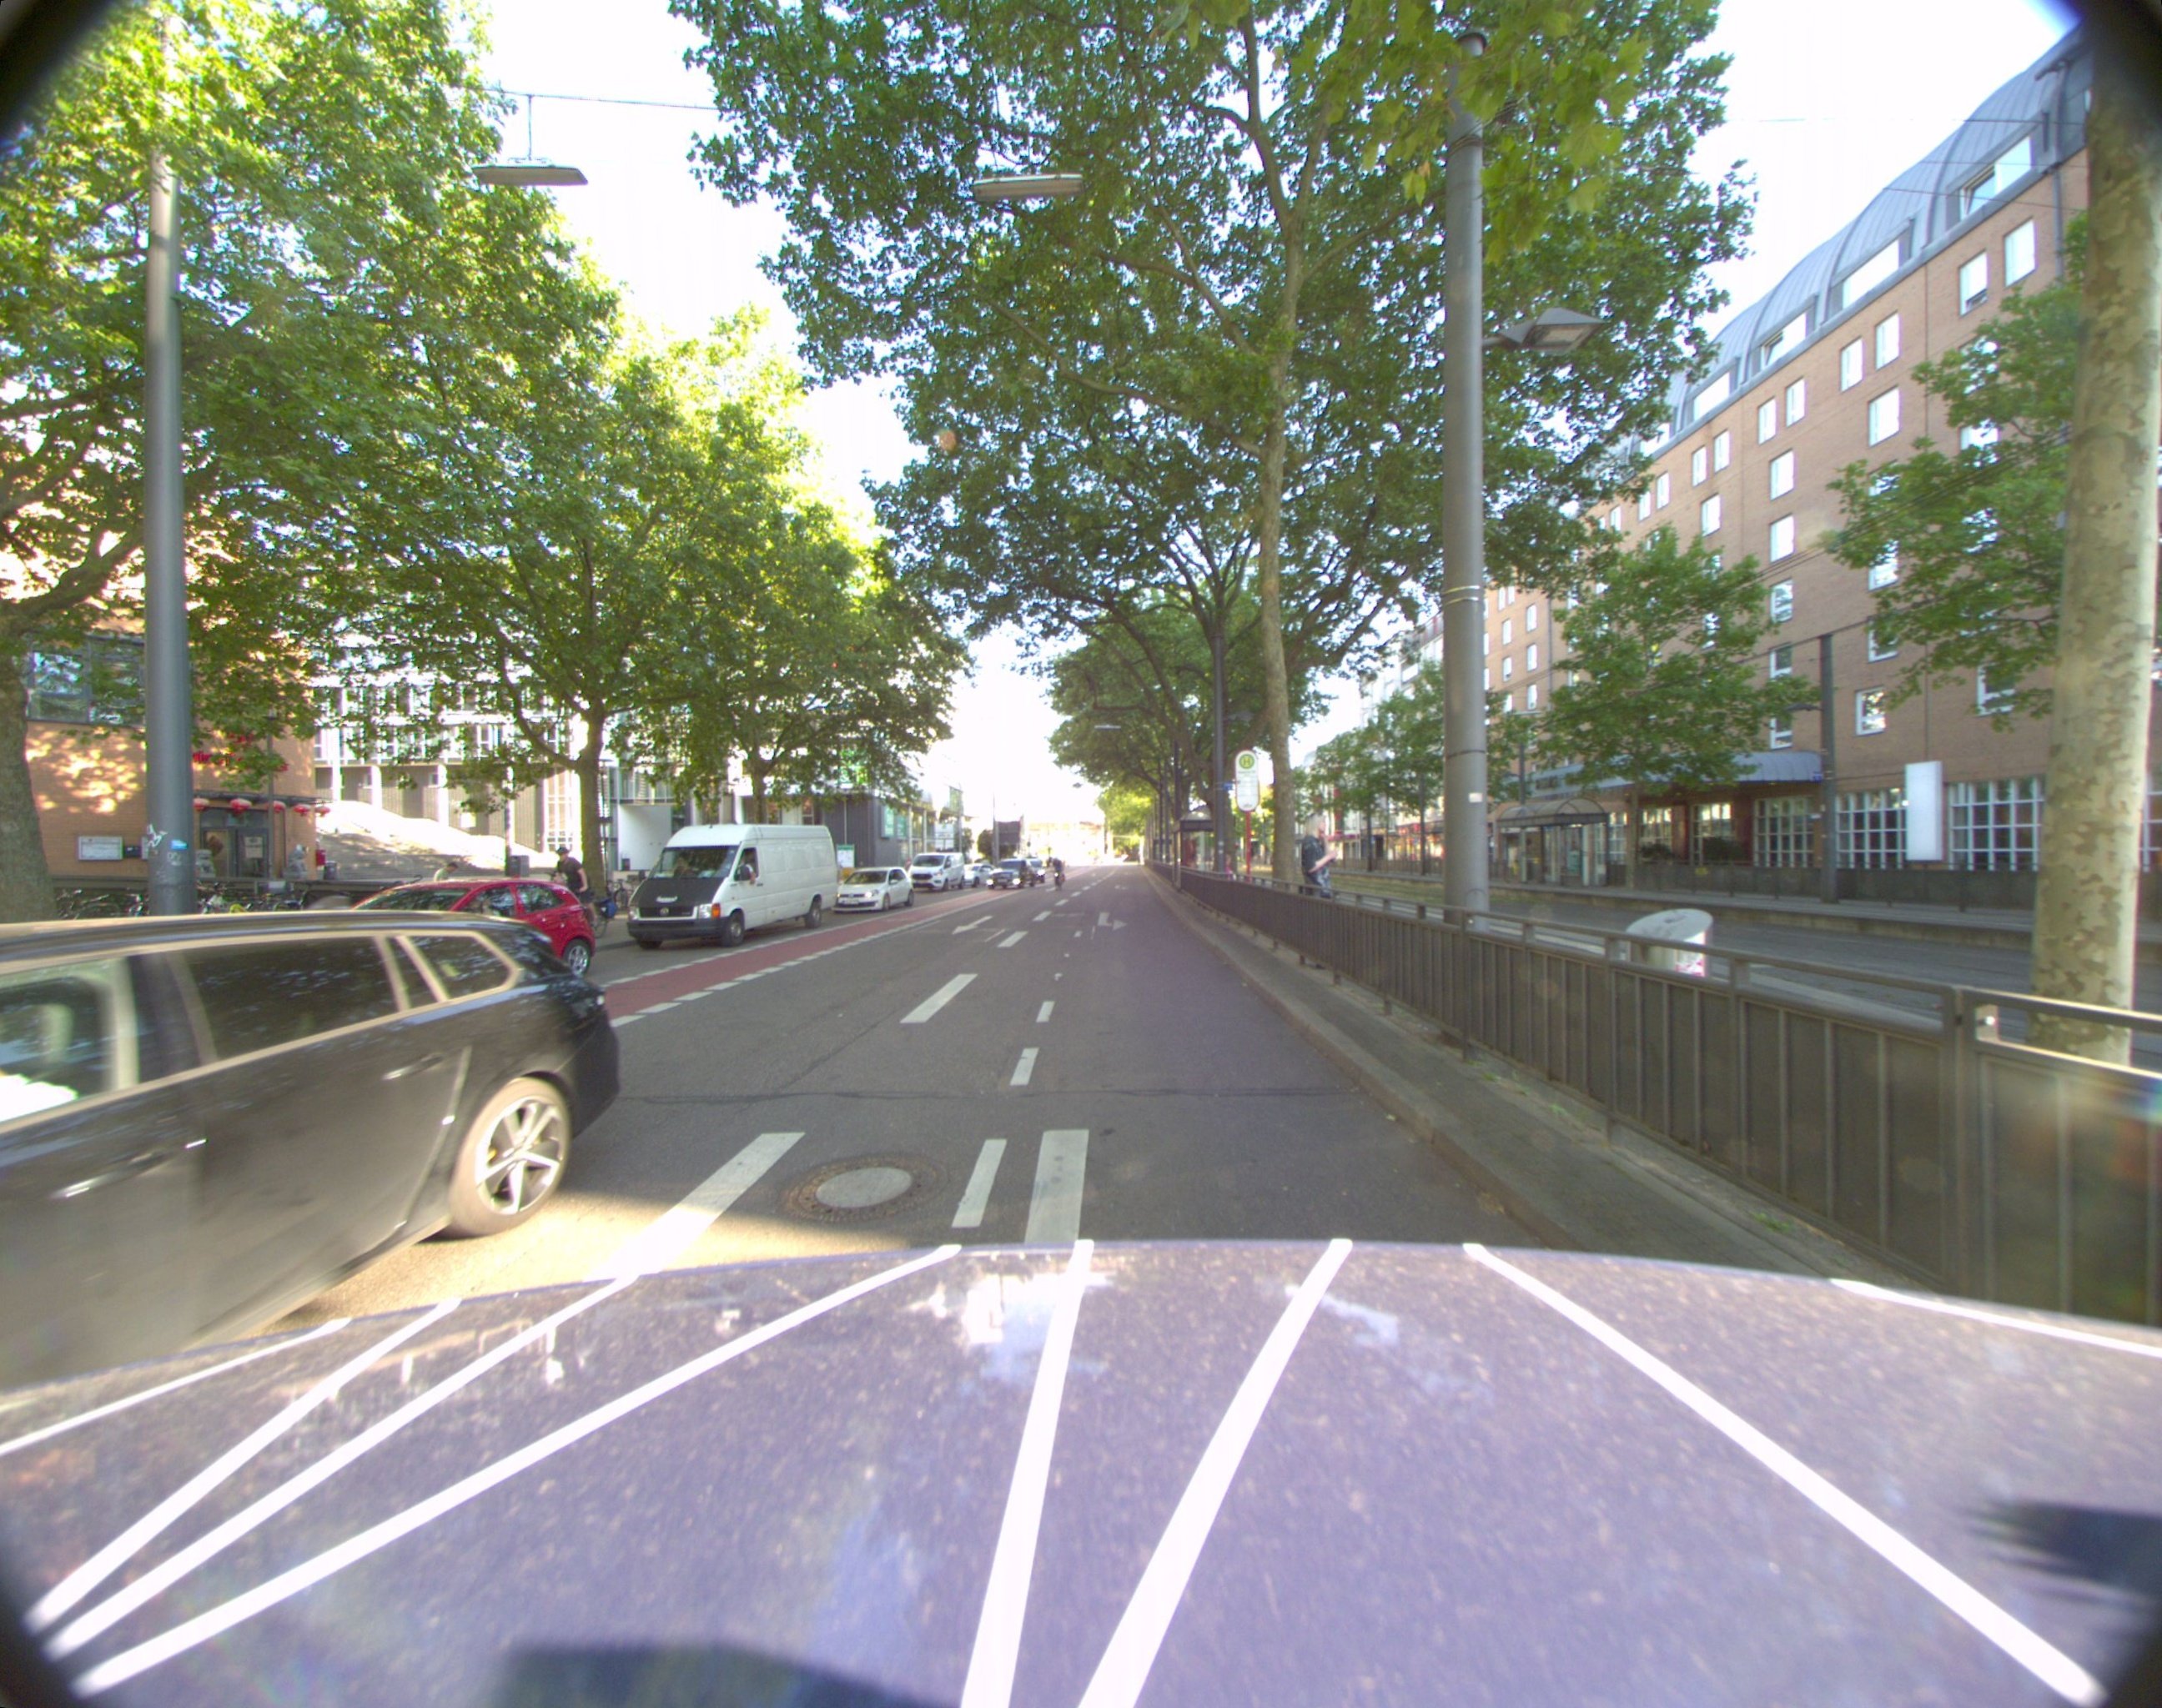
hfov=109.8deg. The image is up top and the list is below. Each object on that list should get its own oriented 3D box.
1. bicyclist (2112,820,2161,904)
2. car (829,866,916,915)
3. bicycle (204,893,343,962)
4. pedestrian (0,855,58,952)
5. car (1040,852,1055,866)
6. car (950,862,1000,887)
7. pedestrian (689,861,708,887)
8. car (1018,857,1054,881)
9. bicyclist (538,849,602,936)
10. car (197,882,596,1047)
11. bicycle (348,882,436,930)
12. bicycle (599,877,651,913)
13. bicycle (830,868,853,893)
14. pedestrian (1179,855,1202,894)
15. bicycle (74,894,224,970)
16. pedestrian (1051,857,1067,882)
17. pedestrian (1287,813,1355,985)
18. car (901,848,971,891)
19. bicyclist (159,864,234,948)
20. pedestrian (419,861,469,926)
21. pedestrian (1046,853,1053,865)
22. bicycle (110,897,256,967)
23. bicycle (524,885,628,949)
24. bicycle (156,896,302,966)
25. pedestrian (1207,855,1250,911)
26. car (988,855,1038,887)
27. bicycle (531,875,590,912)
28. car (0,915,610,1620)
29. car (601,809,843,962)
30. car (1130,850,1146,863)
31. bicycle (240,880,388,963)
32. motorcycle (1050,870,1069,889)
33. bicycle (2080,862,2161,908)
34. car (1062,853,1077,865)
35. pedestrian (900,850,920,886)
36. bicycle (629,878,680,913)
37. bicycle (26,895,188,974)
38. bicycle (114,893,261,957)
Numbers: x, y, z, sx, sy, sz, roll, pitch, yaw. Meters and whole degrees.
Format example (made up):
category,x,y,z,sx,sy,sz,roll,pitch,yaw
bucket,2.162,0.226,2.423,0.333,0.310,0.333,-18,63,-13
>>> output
category,x,y,z,sx,sy,sz,roll,pitch,yaw
bicyclist,23.138,0.169,16.336,0.752,1.775,0.852,0,1,4
car,-6.978,1.178,25.839,1.671,1.455,3.869,0,0,3
bicycle,-13.802,1.224,13.056,0.597,1.026,1.655,0,0,1
pedestrian,-19.978,0.907,14.019,0.788,1.747,1.020,0,1,6
car,-4.905,0.729,110.970,1.999,1.856,3.999,-2,1,-1
car,-6.417,1.215,46.555,1.784,1.411,4.025,0,0,11
pedestrian,-21.420,1.110,42.579,0.712,1.447,0.601,0,1,4
car,-3.018,0.992,51.943,1.759,1.565,4.002,0,0,6
bicyclist,-10.161,0.750,15.137,0.752,1.678,0.715,0,1,3
car,-7.946,1.166,9.351,1.562,1.455,3.621,-2,0,1
bicycle,-17.734,1.316,19.604,0.596,1.119,1.656,0,0,9
bicycle,-14.664,1.306,24.480,0.597,1.041,1.655,0,0,4
bicycle,-11.328,1.234,35.942,0.514,1.151,1.540,-1,0,3
pedestrian,4.003,0.746,27.830,0.735,1.379,0.640,-2,1,6
bicycle,-15.923,1.295,13.050,0.503,1.130,1.655,0,0,1
pedestrian,-1.069,0.749,37.087,0.665,1.218,0.775,0,1,4
pedestrian,2.769,0.497,8.813,0.511,1.889,0.760,-2,1,2
car,-7.591,0.770,40.318,2.127,2.121,5.292,0,0,6
bicyclist,-17.558,1.008,15.099,0.823,1.607,0.562,-1,1,-33
pedestrian,-16.206,0.986,19.334,0.718,1.622,0.636,0,1,7
pedestrian,-4.075,0.660,99.439,0.753,1.565,0.912,-1,1,6
bicycle,-15.316,1.293,13.029,0.503,1.026,1.655,0,0,1
bicycle,-10.149,1.238,15.375,0.551,1.114,2.127,0,0,4
bicycle,-14.519,1.275,13.020,0.597,1.026,1.655,0,0,1
pedestrian,3.804,0.734,19.632,0.979,1.392,0.664,-2,1,6
car,-3.636,0.908,41.488,1.784,1.628,4.024,0,0,9
bicycle,-16.217,1.217,23.722,0.597,1.041,1.655,0,0,4
car,-3.386,1.063,1.720,1.827,1.416,4.346,-2,0,1
car,-7.555,0.569,17.093,1.998,2.708,6.562,-2,0,2
car,8.393,0.345,111.910,1.958,1.760,3.999,-2,1,1
bicycle,-13.102,1.109,13.069,0.597,1.257,1.876,0,0,1
motorcycle,-1.031,1.233,37.034,0.667,0.843,2.223,0,0,4
bicycle,23.146,0.658,16.297,0.667,0.928,2.185,-1,0,4
car,-1.617,0.722,111.814,1.998,1.681,3.999,-2,1,1
pedestrian,-9.716,0.813,43.137,0.808,2.002,0.665,-2,1,7
bicycle,-13.727,1.312,24.484,0.597,1.041,1.655,0,0,4
bicycle,-16.484,1.325,12.930,0.479,1.153,1.694,0,0,5
bicycle,-17.639,1.378,15.054,1.781,1.119,0.566,-1,1,-33
